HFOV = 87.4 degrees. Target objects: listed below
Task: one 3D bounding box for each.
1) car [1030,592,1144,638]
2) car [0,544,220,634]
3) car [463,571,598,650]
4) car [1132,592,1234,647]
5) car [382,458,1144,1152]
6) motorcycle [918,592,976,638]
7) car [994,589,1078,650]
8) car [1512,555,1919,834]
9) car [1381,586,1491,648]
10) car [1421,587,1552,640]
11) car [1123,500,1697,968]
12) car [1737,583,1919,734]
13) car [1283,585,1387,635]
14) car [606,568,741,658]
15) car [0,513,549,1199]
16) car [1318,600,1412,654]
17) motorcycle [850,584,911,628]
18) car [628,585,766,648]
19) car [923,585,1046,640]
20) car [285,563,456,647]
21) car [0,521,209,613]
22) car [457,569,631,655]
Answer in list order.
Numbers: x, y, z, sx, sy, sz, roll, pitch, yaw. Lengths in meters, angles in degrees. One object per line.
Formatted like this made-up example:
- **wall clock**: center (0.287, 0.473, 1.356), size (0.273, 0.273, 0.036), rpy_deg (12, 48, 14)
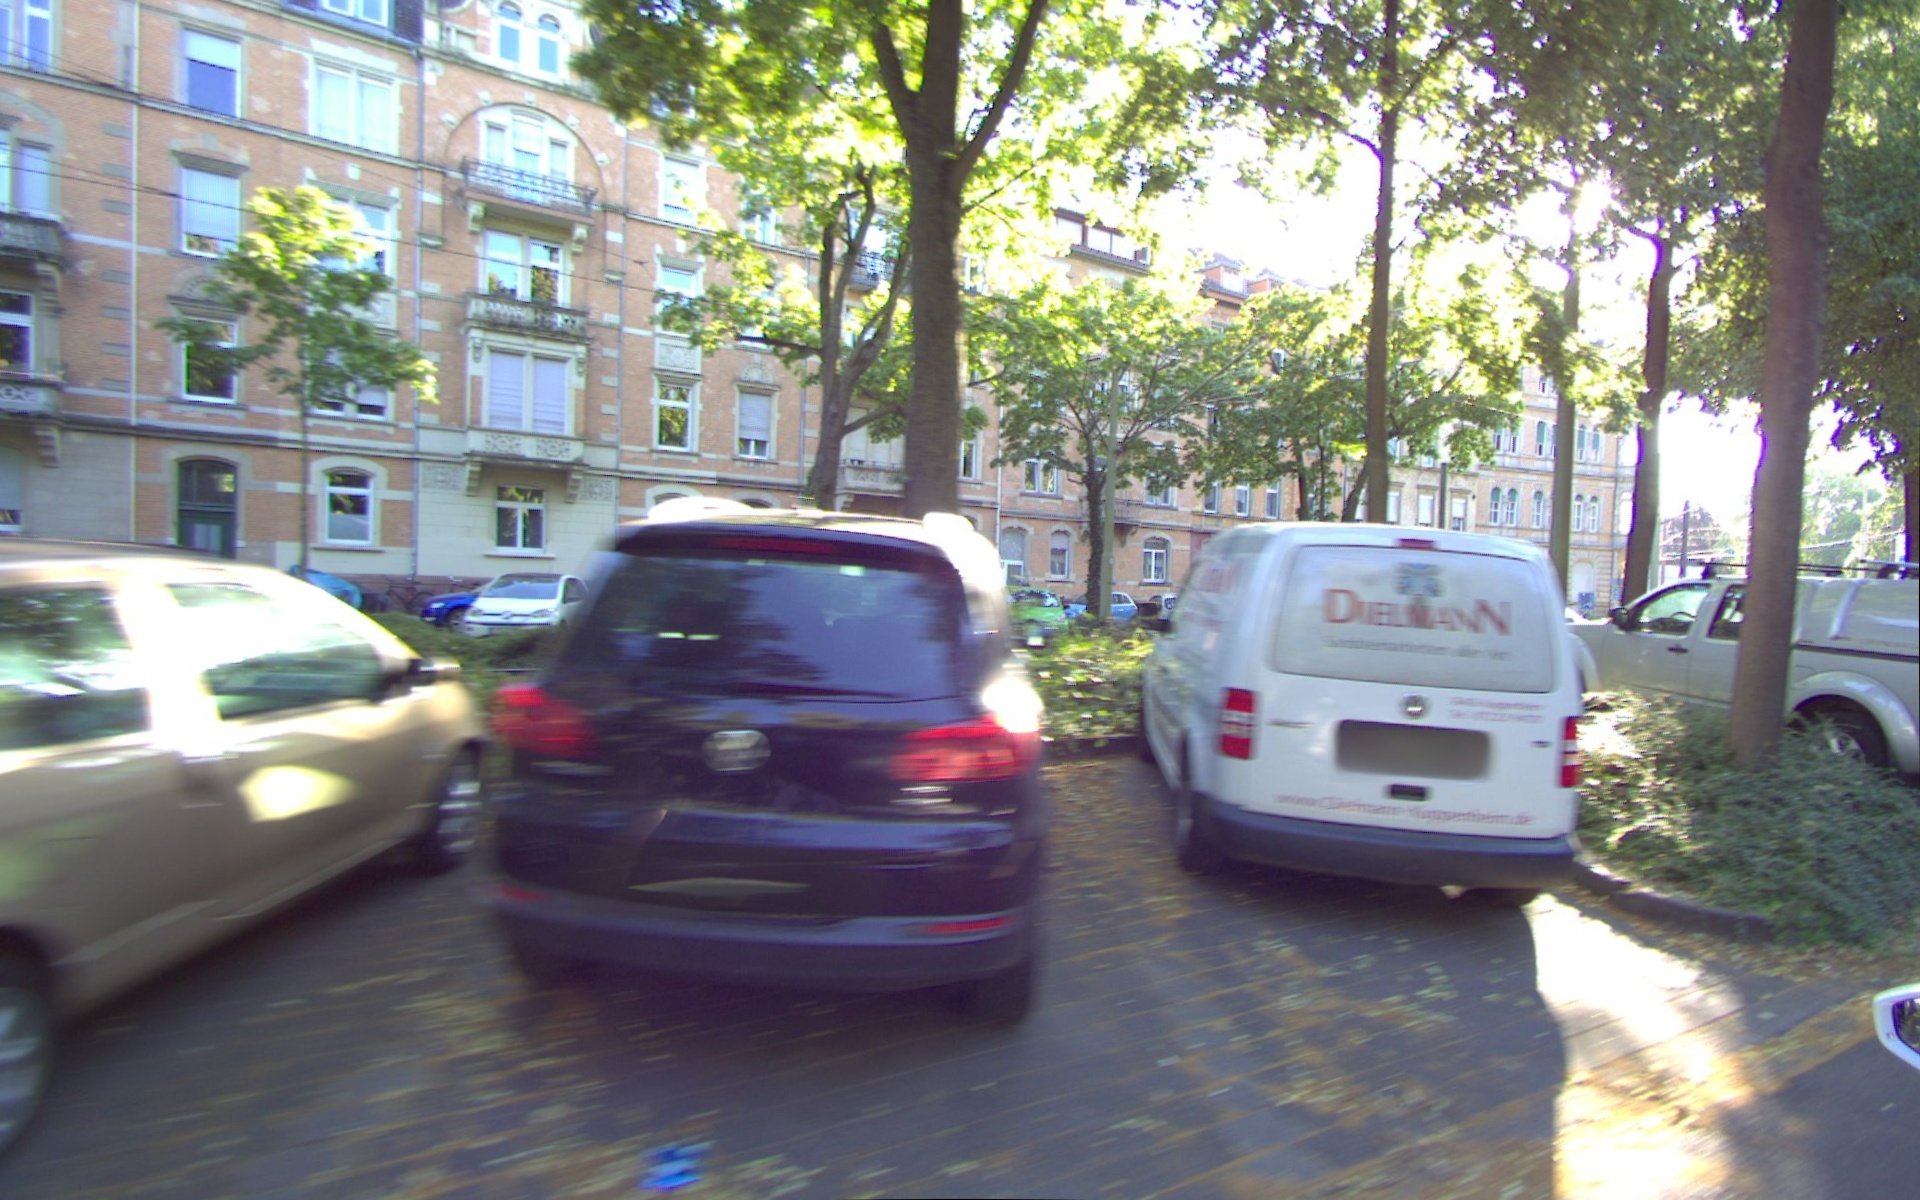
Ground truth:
- **car**: center (4.796, 0.543, 37.840), size (4.017, 1.539, 1.839), rpy_deg (0, 4, -34)
- **car**: center (-13.429, -0.191, 15.248), size (1.471, 1.183, 4.201), rpy_deg (2, 1, -4)
- **car**: center (-8.127, 0.159, 19.338), size (1.566, 1.335, 3.991), rpy_deg (1, 1, -11)
- **car**: center (6.281, 0.506, 28.696), size (1.695, 1.399, 3.734), rpy_deg (1, 1, -7)
- **car**: center (-0.464, 0.415, 4.627), size (1.877, 1.666, 4.160), rpy_deg (3, 3, 2)
- **motorcycle**: center (-0.314, 0.319, 22.827), size (1.002, 0.968, 1.723), rpy_deg (1, 1, -11)
- **car**: center (1.866, 0.443, 25.567), size (1.675, 1.399, 3.737), rpy_deg (2, 1, -2)
- **car**: center (7.372, 0.607, 8.824), size (1.949, 1.805, 4.998), rpy_deg (3, 3, -3)
- **car**: center (16.891, 0.558, 35.863), size (1.961, 2.040, 4.000), rpy_deg (1, 1, 0)
- **car**: center (19.414, 0.452, 37.301), size (2.045, 1.788, 4.833), rpy_deg (1, 1, -4)
- **car**: center (2.150, 0.439, 6.204), size (1.846, 1.805, 4.161), rpy_deg (4, 3, 5)
- **car**: center (12.199, 0.770, 12.185), size (1.904, 1.648, 4.355), rpy_deg (3, 3, -3)
- **car**: center (17.226, 0.438, 46.037), size (4.948, 2.091, 1.840), rpy_deg (0, 4, -34)
- **car**: center (-5.689, 0.222, 20.440), size (1.962, 1.599, 3.996), rpy_deg (1, 0, -6)
- **car**: center (-2.950, 0.473, 3.257), size (1.798, 1.445, 3.426), rpy_deg (3, 3, 0)
- **car**: center (13.784, 0.887, 34.404), size (1.628, 1.662, 3.649), rpy_deg (1, 1, -2)
- **motorcycle**: center (-1.727, 0.116, 22.189), size (1.000, 0.901, 1.978), rpy_deg (2, 1, 5)
- **car**: center (-7.599, 0.450, 29.065), size (3.471, 1.604, 1.839), rpy_deg (0, 4, -34)
- **car**: center (0.867, 0.434, 34.881), size (3.959, 1.799, 1.782), rpy_deg (1, 1, -35)
- **car**: center (-14.314, 0.092, 24.445), size (3.471, 1.807, 1.839), rpy_deg (0, 4, -34)
- **car**: center (-18.725, -0.648, 21.594), size (3.982, 1.806, 1.839), rpy_deg (1, -1, -34)
- **car**: center (-10.984, 0.273, 26.574), size (3.958, 2.041, 1.981), rpy_deg (0, 4, -34)
